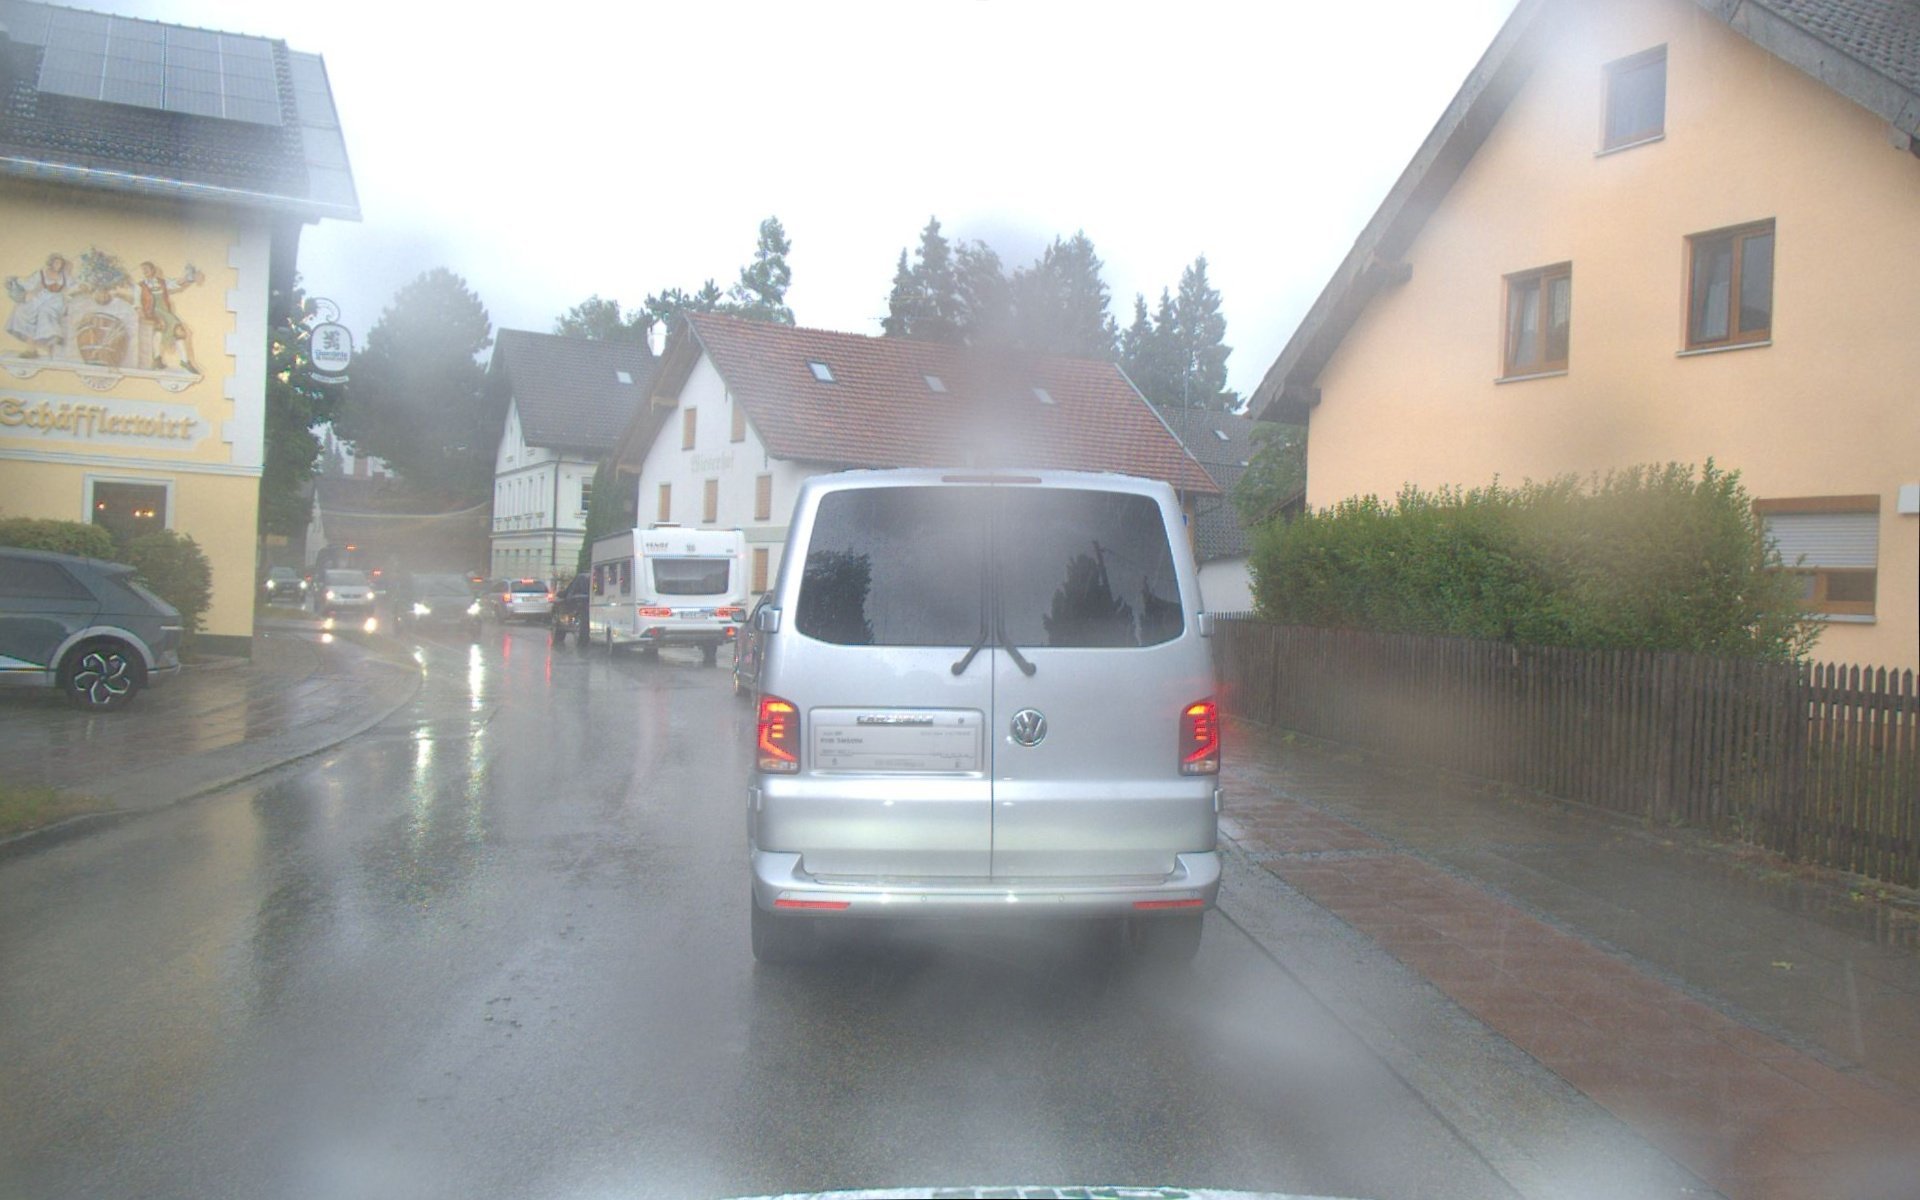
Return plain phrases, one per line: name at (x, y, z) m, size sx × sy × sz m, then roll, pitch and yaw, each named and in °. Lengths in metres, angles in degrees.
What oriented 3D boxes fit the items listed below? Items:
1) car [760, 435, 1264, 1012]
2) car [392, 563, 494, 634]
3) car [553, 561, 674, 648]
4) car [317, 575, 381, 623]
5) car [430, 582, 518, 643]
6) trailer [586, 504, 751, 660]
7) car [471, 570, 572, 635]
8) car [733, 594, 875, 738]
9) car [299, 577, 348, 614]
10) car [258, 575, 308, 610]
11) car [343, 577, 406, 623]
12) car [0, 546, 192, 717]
car at (0.168, 0.424, 8.297) m, size 1.740 × 1.997 × 5.073 m, roll 0°, pitch 0°, yaw 0°
car at (-13.729, -0.052, 43.811) m, size 1.900 × 1.775 × 4.154 m, roll 0°, pitch 0°, yaw -27°
car at (-8.389, 0.085, 39.714) m, size 2.024 × 1.932 × 5.143 m, roll 1°, pitch 0°, yaw -21°
car at (-22.628, -0.038, 61.151) m, size 1.733 × 1.707 × 3.963 m, roll 0°, pitch 0°, yaw -28°
car at (-17.467, 0.410, 59.278) m, size 2.143 × 1.932 × 4.971 m, roll 3°, pitch 1°, yaw -27°
trailer at (-6.201, -0.354, 34.538) m, size 2.238 × 2.955 × 6.093 m, roll 1°, pitch 0°, yaw -21°
car at (-14.291, 0.073, 53.708) m, size 2.143 × 1.932 × 4.970 m, roll 3°, pitch -1°, yaw -27°
car at (-2.123, 0.774, 22.080) m, size 1.676 × 1.611 × 4.679 m, roll -1°, pitch 1°, yaw -7°
car at (-37.634, -0.289, 97.701) m, size 2.143 × 1.932 × 4.971 m, roll 3°, pitch 1°, yaw -27°
car at (-31.972, -0.346, 78.121) m, size 1.572 × 1.638 × 3.498 m, roll 0°, pitch 0°, yaw -33°
car at (-27.590, -0.026, 77.847) m, size 2.143 × 1.932 × 4.971 m, roll 3°, pitch 1°, yaw -27°
car at (-10.586, 0.221, 17.312) m, size 4.427 × 1.594 × 1.822 m, roll 5°, pitch 1°, yaw -29°
